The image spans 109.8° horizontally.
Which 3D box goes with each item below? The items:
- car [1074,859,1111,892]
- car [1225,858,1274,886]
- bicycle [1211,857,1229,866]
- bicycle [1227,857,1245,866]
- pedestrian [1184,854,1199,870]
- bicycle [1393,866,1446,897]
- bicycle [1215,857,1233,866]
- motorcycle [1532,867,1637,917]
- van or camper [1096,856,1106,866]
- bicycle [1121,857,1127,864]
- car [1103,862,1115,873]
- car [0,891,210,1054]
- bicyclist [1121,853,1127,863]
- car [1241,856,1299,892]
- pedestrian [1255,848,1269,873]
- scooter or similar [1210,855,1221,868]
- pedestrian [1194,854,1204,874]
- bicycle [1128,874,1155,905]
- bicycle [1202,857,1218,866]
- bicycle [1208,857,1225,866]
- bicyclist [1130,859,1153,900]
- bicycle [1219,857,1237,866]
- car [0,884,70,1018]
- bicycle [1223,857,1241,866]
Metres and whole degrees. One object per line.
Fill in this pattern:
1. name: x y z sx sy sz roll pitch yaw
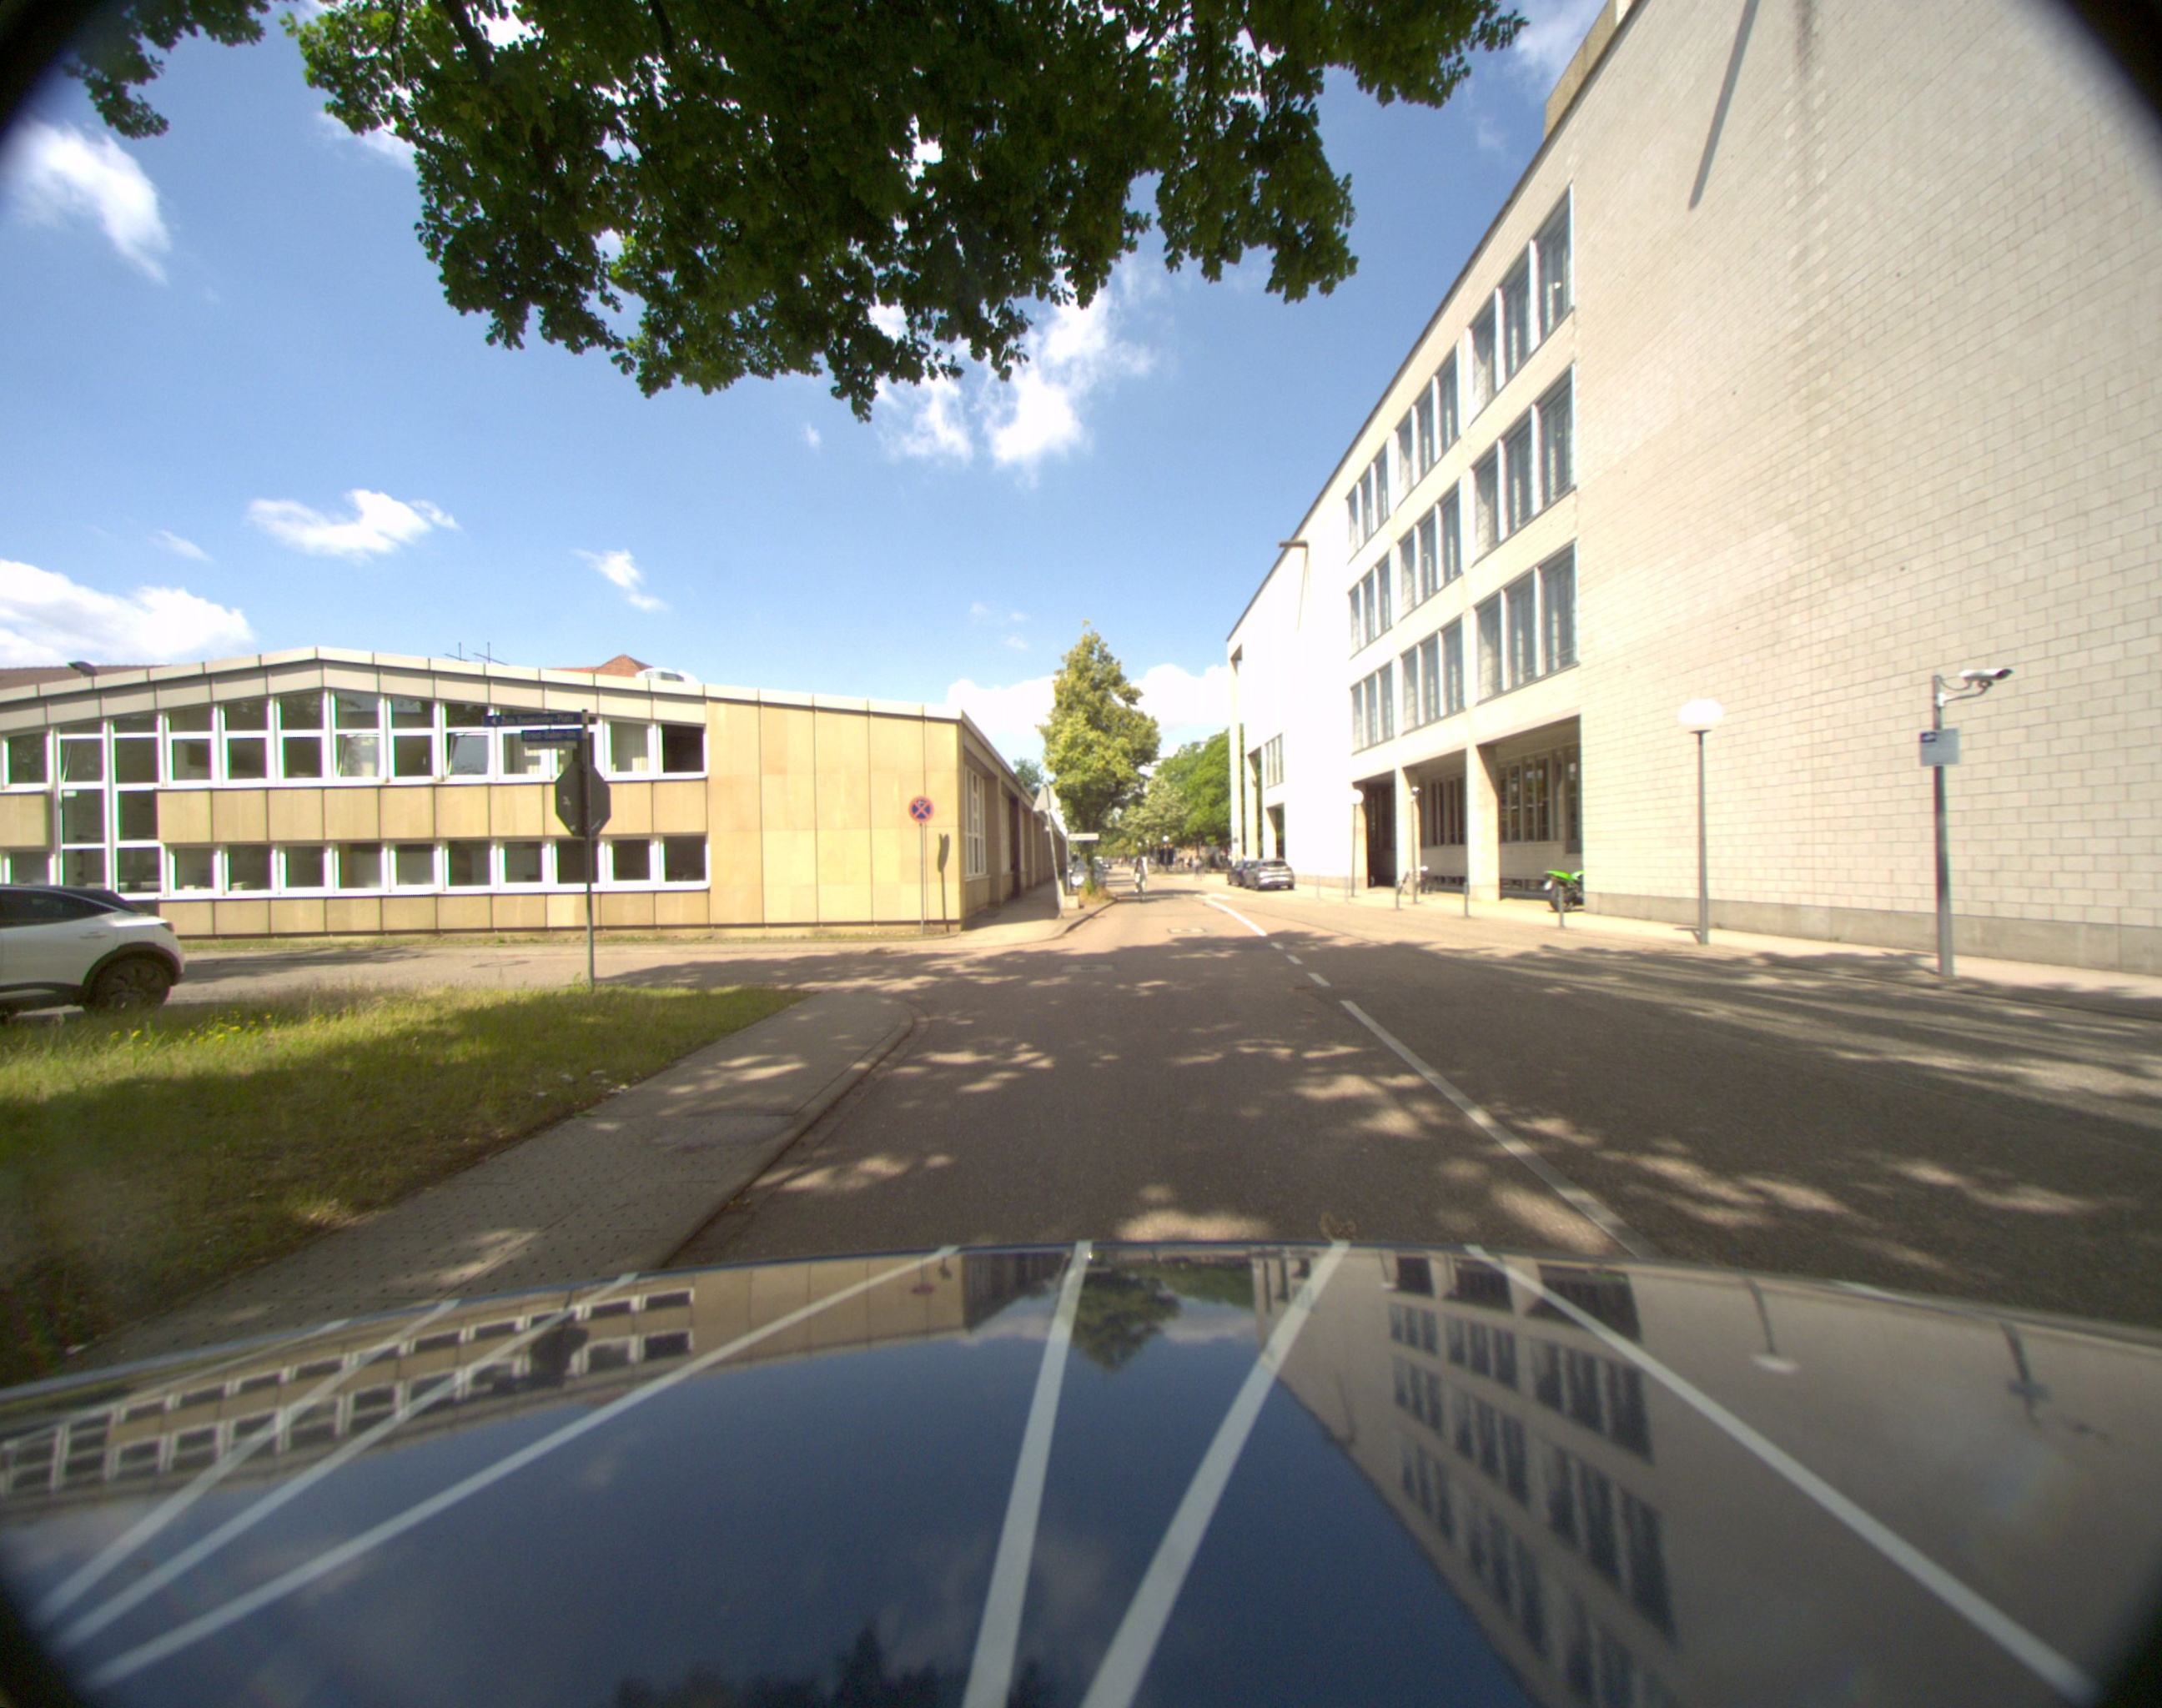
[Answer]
1. car: 0.557 1.049 38.071 1.760 1.559 3.817 0 0 0
2. car: 9.337 0.984 42.340 1.730 1.414 4.665 -2 0 1
3. bicycle: 17.143 0.958 93.750 2.127 1.052 0.681 -2 1 -29
4. bicycle: 18.521 0.899 90.743 2.127 1.100 0.681 -2 1 -29
5. pedestrian: 12.596 0.922 86.686 1.400 1.813 1.369 -2 0 0
6. bicycle: 12.320 0.997 27.656 1.643 1.080 0.608 -2 0 -5
7. bicycle: 17.524 0.948 93.109 2.127 1.052 0.681 -2 1 -29
8. motorcycle: 12.237 0.909 18.484 2.173 1.131 0.774 -1 0 -10
9. van or camper: 4.913 1.719 185.397 1.997 2.347 4.385 -1 0 7
10. bicycle: 8.143 1.199 143.183 1.011 1.169 3.394 -2 0 1
11. car: 4.852 2.259 131.375 1.998 1.805 4.000 -1 0 2
12. car: -11.127 1.181 6.854 1.671 1.468 4.182 -1 0 1
13. bicyclist: 8.123 0.741 143.142 1.053 1.690 1.282 -2 1 1
14. car: 9.113 0.914 36.939 1.730 1.526 4.405 -3 1 1
15. pedestrian: 14.467 0.515 60.713 0.755 2.002 1.081 -2 0 0
16. scooter or similar: 13.282 0.756 75.072 0.713 1.184 1.617 -1 1 22
17. pedestrian: 10.439 0.865 67.254 0.760 1.715 1.236 -4 1 11
18. bicycle: 2.213 1.295 28.015 0.781 1.042 1.913 -1 0 -1
19. bicycle: 16.240 0.982 95.626 2.127 1.052 0.621 -2 1 -29
20. bicycle: 16.816 0.967 94.372 2.127 1.052 0.621 -2 1 -29
21. bicyclist: 2.215 0.920 27.916 0.781 1.478 0.695 -1 0 -1
22. bicycle: 17.862 0.940 92.381 2.127 1.052 0.681 -2 1 -29
23. car: -13.811 1.176 7.659 1.829 1.569 4.000 -1 0 1
24. bicycle: 18.145 0.909 91.392 2.127 1.100 0.681 -2 1 -29
